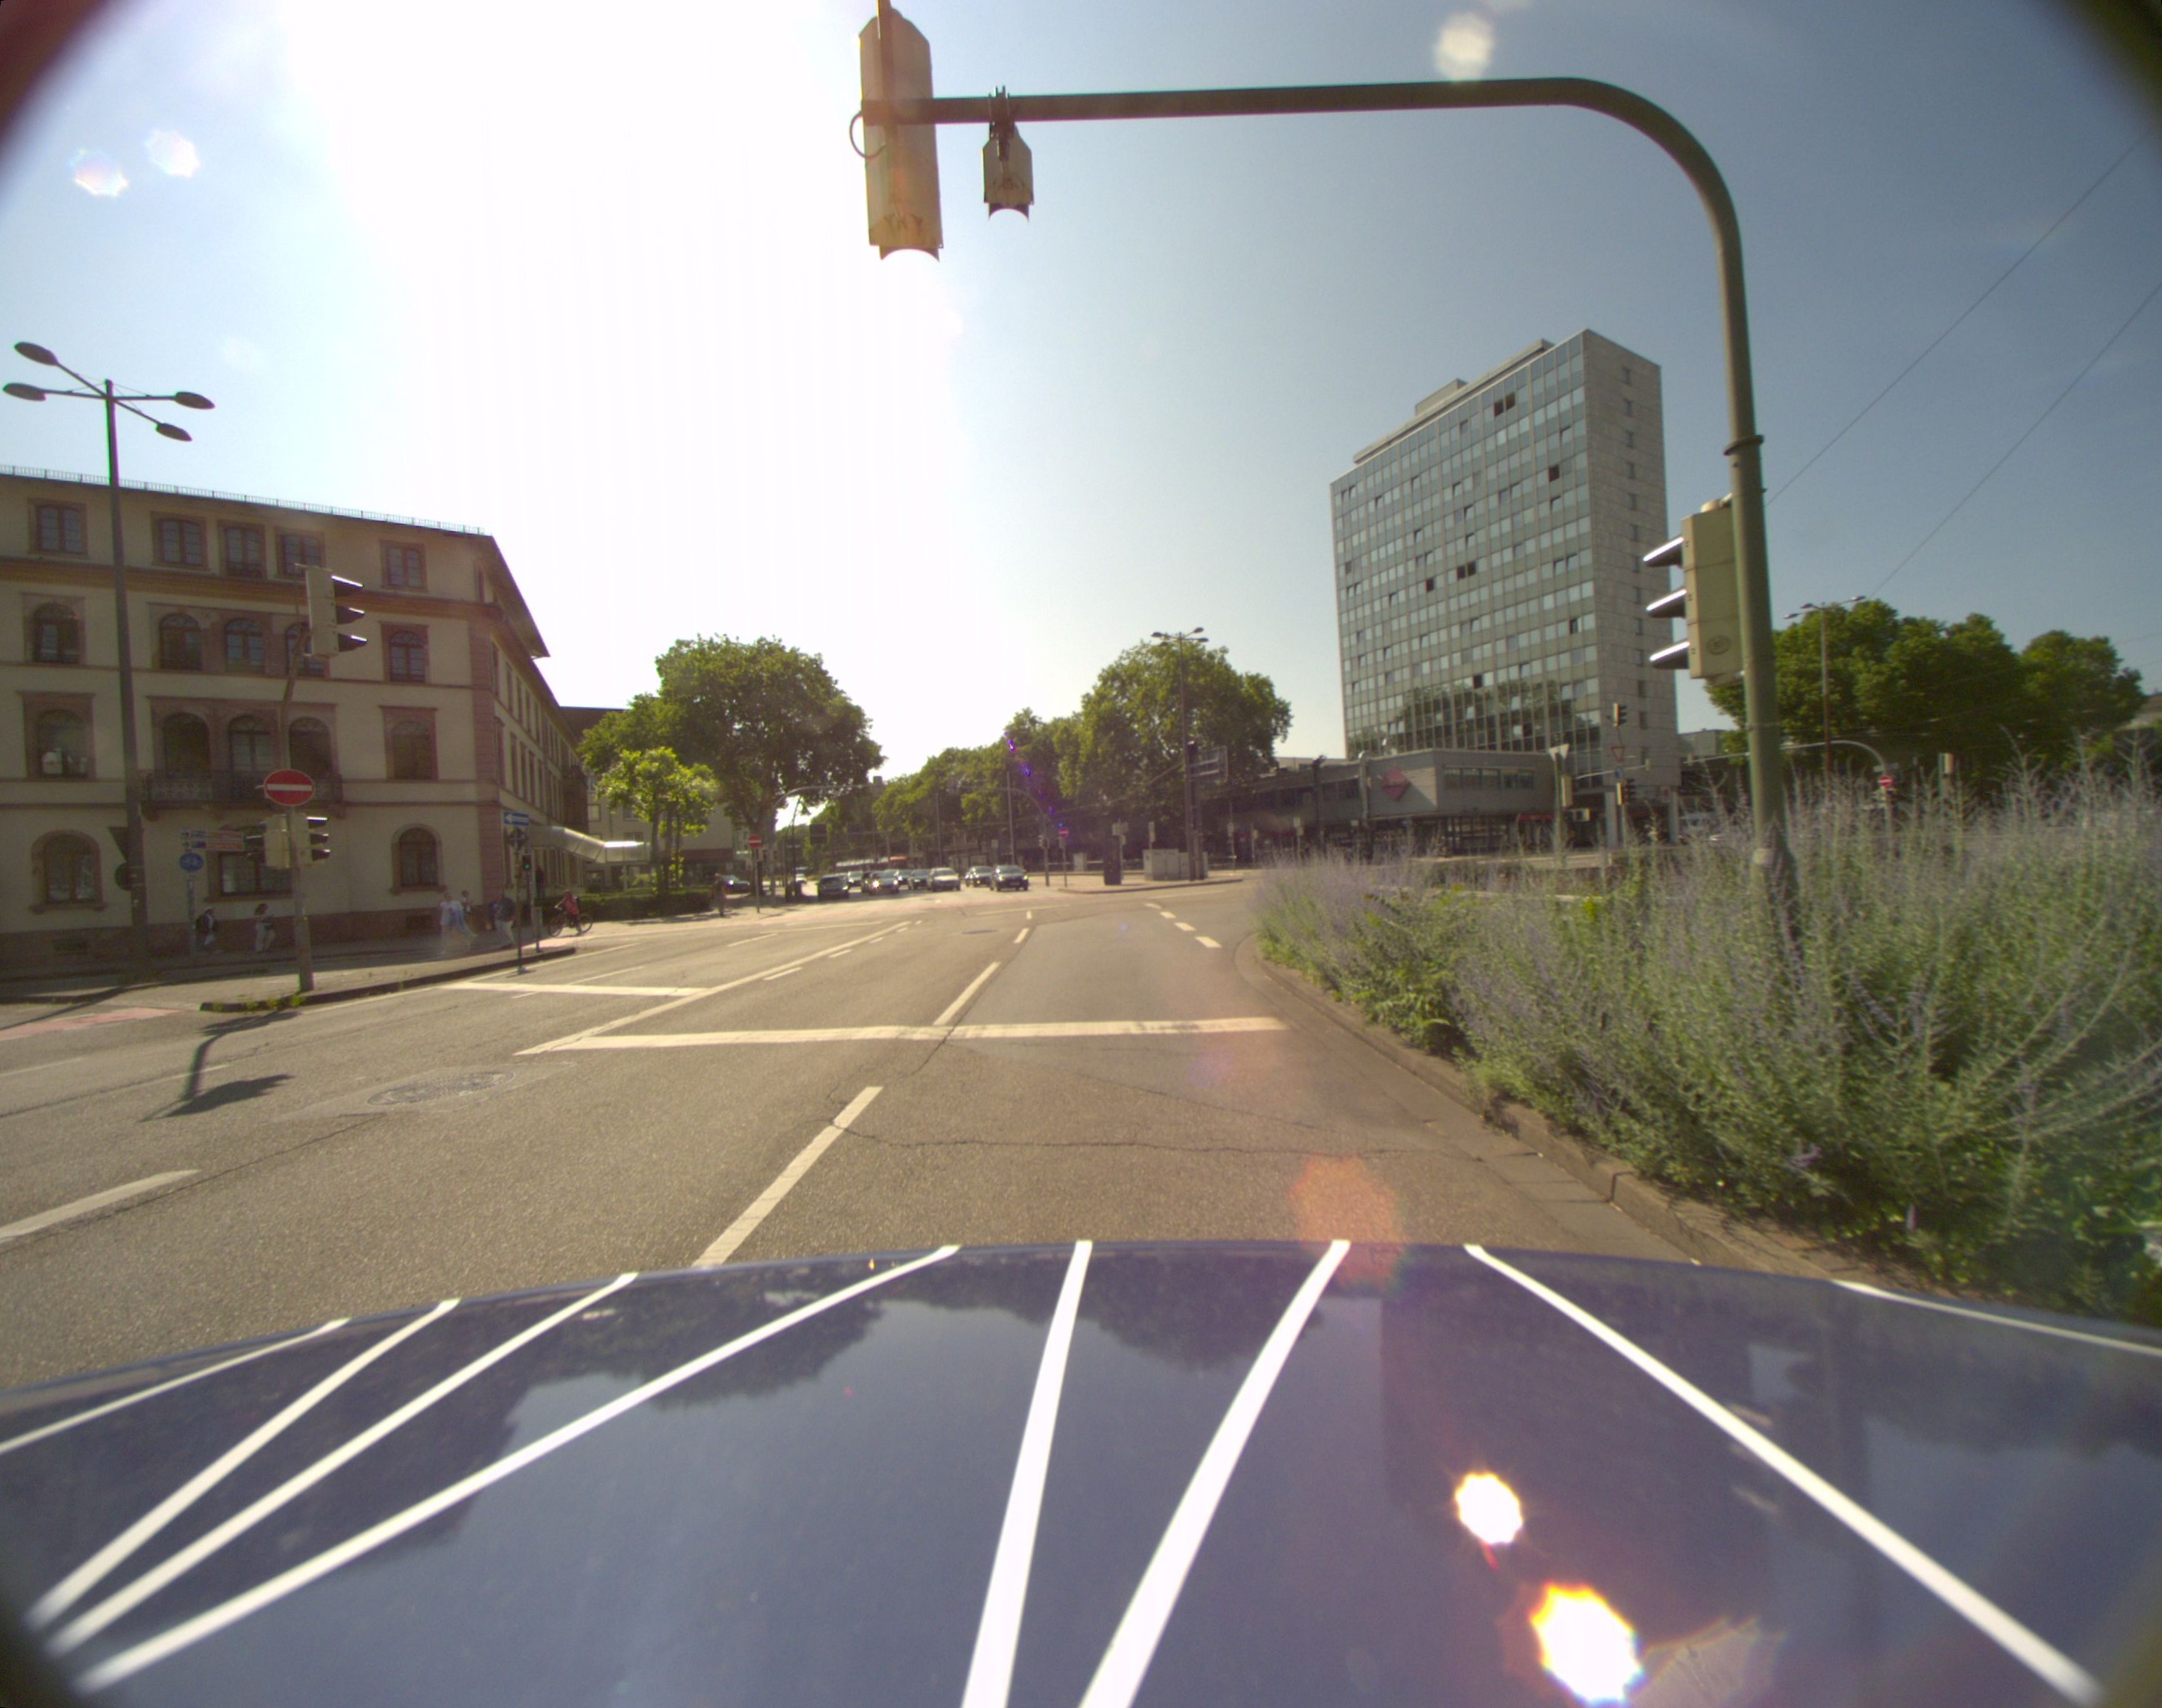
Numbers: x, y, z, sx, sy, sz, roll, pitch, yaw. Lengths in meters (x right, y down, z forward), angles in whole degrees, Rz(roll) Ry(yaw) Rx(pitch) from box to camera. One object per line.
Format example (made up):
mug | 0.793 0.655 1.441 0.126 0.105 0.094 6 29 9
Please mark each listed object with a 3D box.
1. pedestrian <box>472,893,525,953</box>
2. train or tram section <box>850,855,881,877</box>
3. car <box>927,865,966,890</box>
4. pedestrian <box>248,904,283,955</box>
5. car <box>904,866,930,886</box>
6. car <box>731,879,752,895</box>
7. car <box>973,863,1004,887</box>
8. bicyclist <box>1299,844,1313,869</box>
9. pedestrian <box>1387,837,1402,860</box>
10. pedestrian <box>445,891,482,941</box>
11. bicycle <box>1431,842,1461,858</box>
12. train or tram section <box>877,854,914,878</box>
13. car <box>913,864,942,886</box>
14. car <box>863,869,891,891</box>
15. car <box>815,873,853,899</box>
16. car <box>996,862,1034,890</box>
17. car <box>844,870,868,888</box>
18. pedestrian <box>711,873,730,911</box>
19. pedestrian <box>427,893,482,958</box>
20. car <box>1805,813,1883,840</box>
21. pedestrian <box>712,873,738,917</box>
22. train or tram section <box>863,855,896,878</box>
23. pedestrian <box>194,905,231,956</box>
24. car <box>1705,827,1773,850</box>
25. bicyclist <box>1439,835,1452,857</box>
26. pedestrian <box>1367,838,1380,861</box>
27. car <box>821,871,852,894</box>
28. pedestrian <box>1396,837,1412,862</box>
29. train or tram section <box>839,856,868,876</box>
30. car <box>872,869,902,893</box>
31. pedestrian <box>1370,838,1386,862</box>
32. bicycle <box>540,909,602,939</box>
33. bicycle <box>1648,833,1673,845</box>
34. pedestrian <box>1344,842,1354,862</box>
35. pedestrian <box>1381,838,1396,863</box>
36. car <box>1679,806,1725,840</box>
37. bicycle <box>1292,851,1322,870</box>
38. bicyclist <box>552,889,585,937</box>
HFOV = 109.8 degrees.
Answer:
pedestrian | -16.240 1.910 21.202 0.773 1.563 0.829 -3 0 -9
train or tram section | -35.461 2.057 124.976 2.739 3.248 8.718 -4 0 -29
car | -8.621 1.479 48.405 1.722 1.491 4.484 -2 -1 -19
pedestrian | -27.184 2.502 25.328 0.536 1.639 0.579 -4 1 -26
car | -13.525 1.758 62.587 1.793 1.514 3.969 -2 0 -16
car | -30.498 2.923 68.318 1.592 1.314 3.573 -3 0 -24
car | -6.491 1.435 53.427 1.791 1.508 3.973 -2 0 -2
bicyclist | 15.166 0.174 51.229 0.684 1.697 0.521 -2 1 -2
pedestrian | 24.632 -0.434 59.740 0.823 1.825 0.671 -2 1 2
pedestrian | -22.214 2.206 27.336 0.845 1.685 0.743 -4 1 -30
bicycle | 28.046 -0.306 58.400 1.967 1.096 0.577 -3 0 1
train or tram section | -26.917 1.794 109.807 2.739 3.248 8.718 -4 0 -29
car | -11.235 1.488 55.479 1.793 1.514 3.969 -2 0 -16
car | -15.141 1.888 56.298 1.793 1.521 3.968 -2 0 -18
car | -15.201 1.921 46.615 1.794 1.443 3.966 -2 0 -23
car | -3.758 1.217 43.866 1.791 1.443 4.280 -2 0 -1
car | -20.100 2.210 68.017 1.793 1.443 3.970 -2 0 -13
pedestrian | -17.549 1.825 36.996 0.727 1.795 0.651 -3 1 -22
pedestrian | -16.948 1.911 20.568 0.754 1.650 0.829 -3 0 -10
car | 50.699 -1.848 50.512 4.081 1.525 1.880 -3 0 -16
pedestrian | -15.288 1.744 32.598 0.590 1.834 0.730 -3 1 39
train or tram section | -31.184 1.925 117.372 2.739 3.248 8.718 -4 0 -29
pedestrian | -29.644 2.607 25.932 0.536 1.639 0.673 -4 1 -26
car | 49.967 -1.185 57.681 4.166 1.451 1.880 -3 0 -16
bicyclist | 28.006 -0.615 58.385 0.683 1.677 0.584 -3 0 2
pedestrian | 23.672 -0.361 61.545 0.822 1.796 0.671 -2 1 9
car | -17.394 2.007 53.899 1.794 1.516 3.967 -2 0 -22
pedestrian | 24.617 -0.350 57.918 0.825 1.825 0.670 -3 1 -30
train or tram section | -39.715 2.187 132.594 2.739 3.248 8.718 -4 0 -29
car | -12.546 1.713 49.274 1.793 1.443 3.969 -2 0 -14
pedestrian | 23.121 -0.342 59.115 0.825 1.825 0.733 -3 1 -29
bicycle | -18.045 2.459 26.914 0.592 0.850 1.747 -3 0 22
bicycle | 45.726 -1.189 59.936 1.812 0.878 0.592 -3 2 -18
pedestrian | 21.709 -0.147 61.535 0.598 1.628 0.566 -2 1 27
pedestrian | 23.554 -0.274 58.220 0.825 1.825 0.670 -3 1 -29
car | 57.487 -2.849 70.288 4.642 2.899 1.744 -3 0 -31
bicycle | 15.218 0.442 51.228 1.815 1.160 0.521 -2 1 -1
bicyclist | -18.097 2.083 26.826 0.592 1.597 0.685 -3 0 22
